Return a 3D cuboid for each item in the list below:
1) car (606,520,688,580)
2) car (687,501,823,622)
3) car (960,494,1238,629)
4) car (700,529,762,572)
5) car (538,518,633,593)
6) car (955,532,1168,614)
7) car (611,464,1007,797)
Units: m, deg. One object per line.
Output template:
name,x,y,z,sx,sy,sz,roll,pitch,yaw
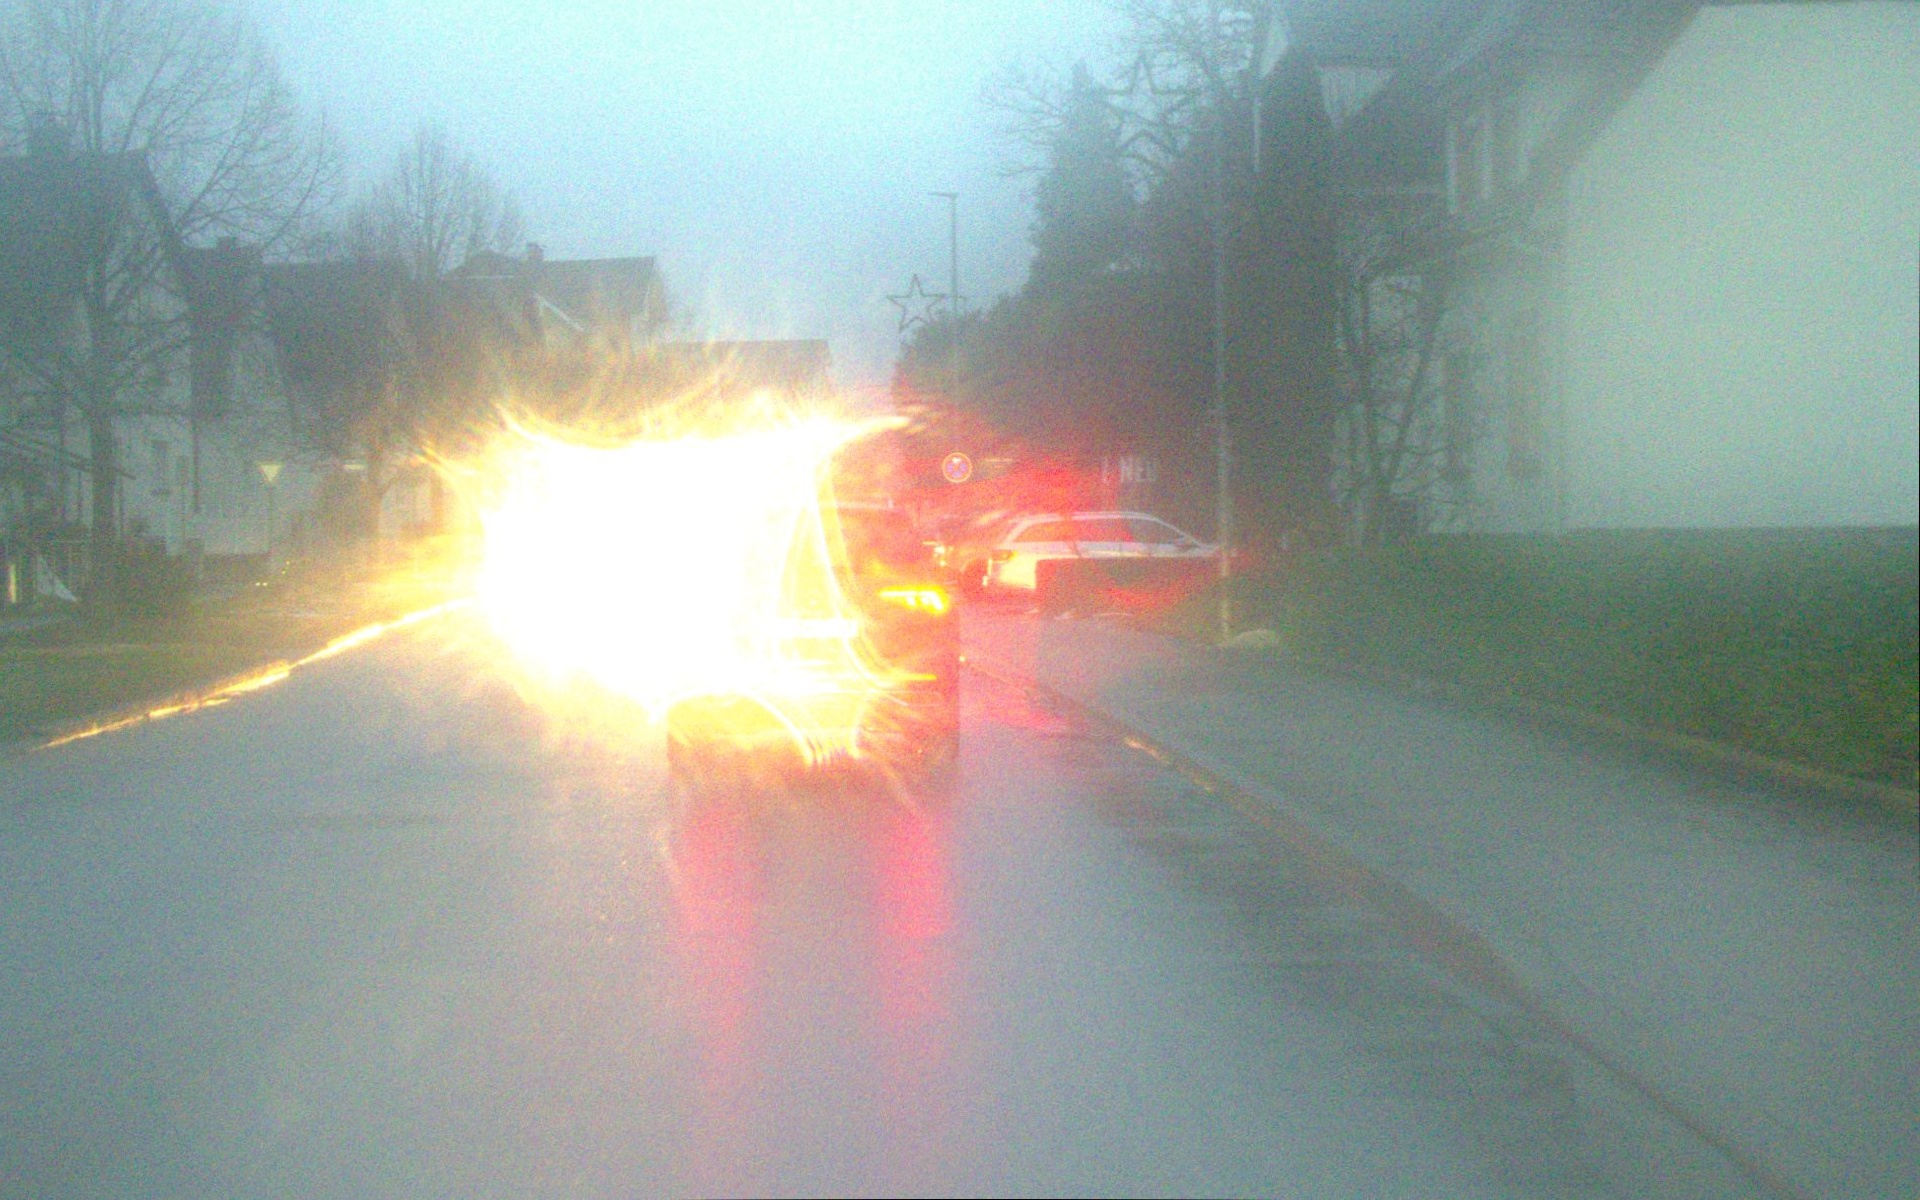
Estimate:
car,-8.463,-1.374,93.174,1.913,1.426,4.001,0,4,-1
car,-2.949,-0.584,49.127,1.857,1.641,4.001,0,2,-4
car,2.162,-0.622,53.893,4.246,2.007,1.811,-1,1,1
car,-7.362,-1.615,110.732,1.842,1.327,3.938,-1,1,-2
car,-8.489,-1.033,78.214,1.913,1.517,4.001,-1,3,-3
car,1.833,-0.504,62.747,3.767,1.385,1.765,-1,1,-2
car,-1.070,0.142,22.776,2.309,1.932,5.019,-1,1,-4
